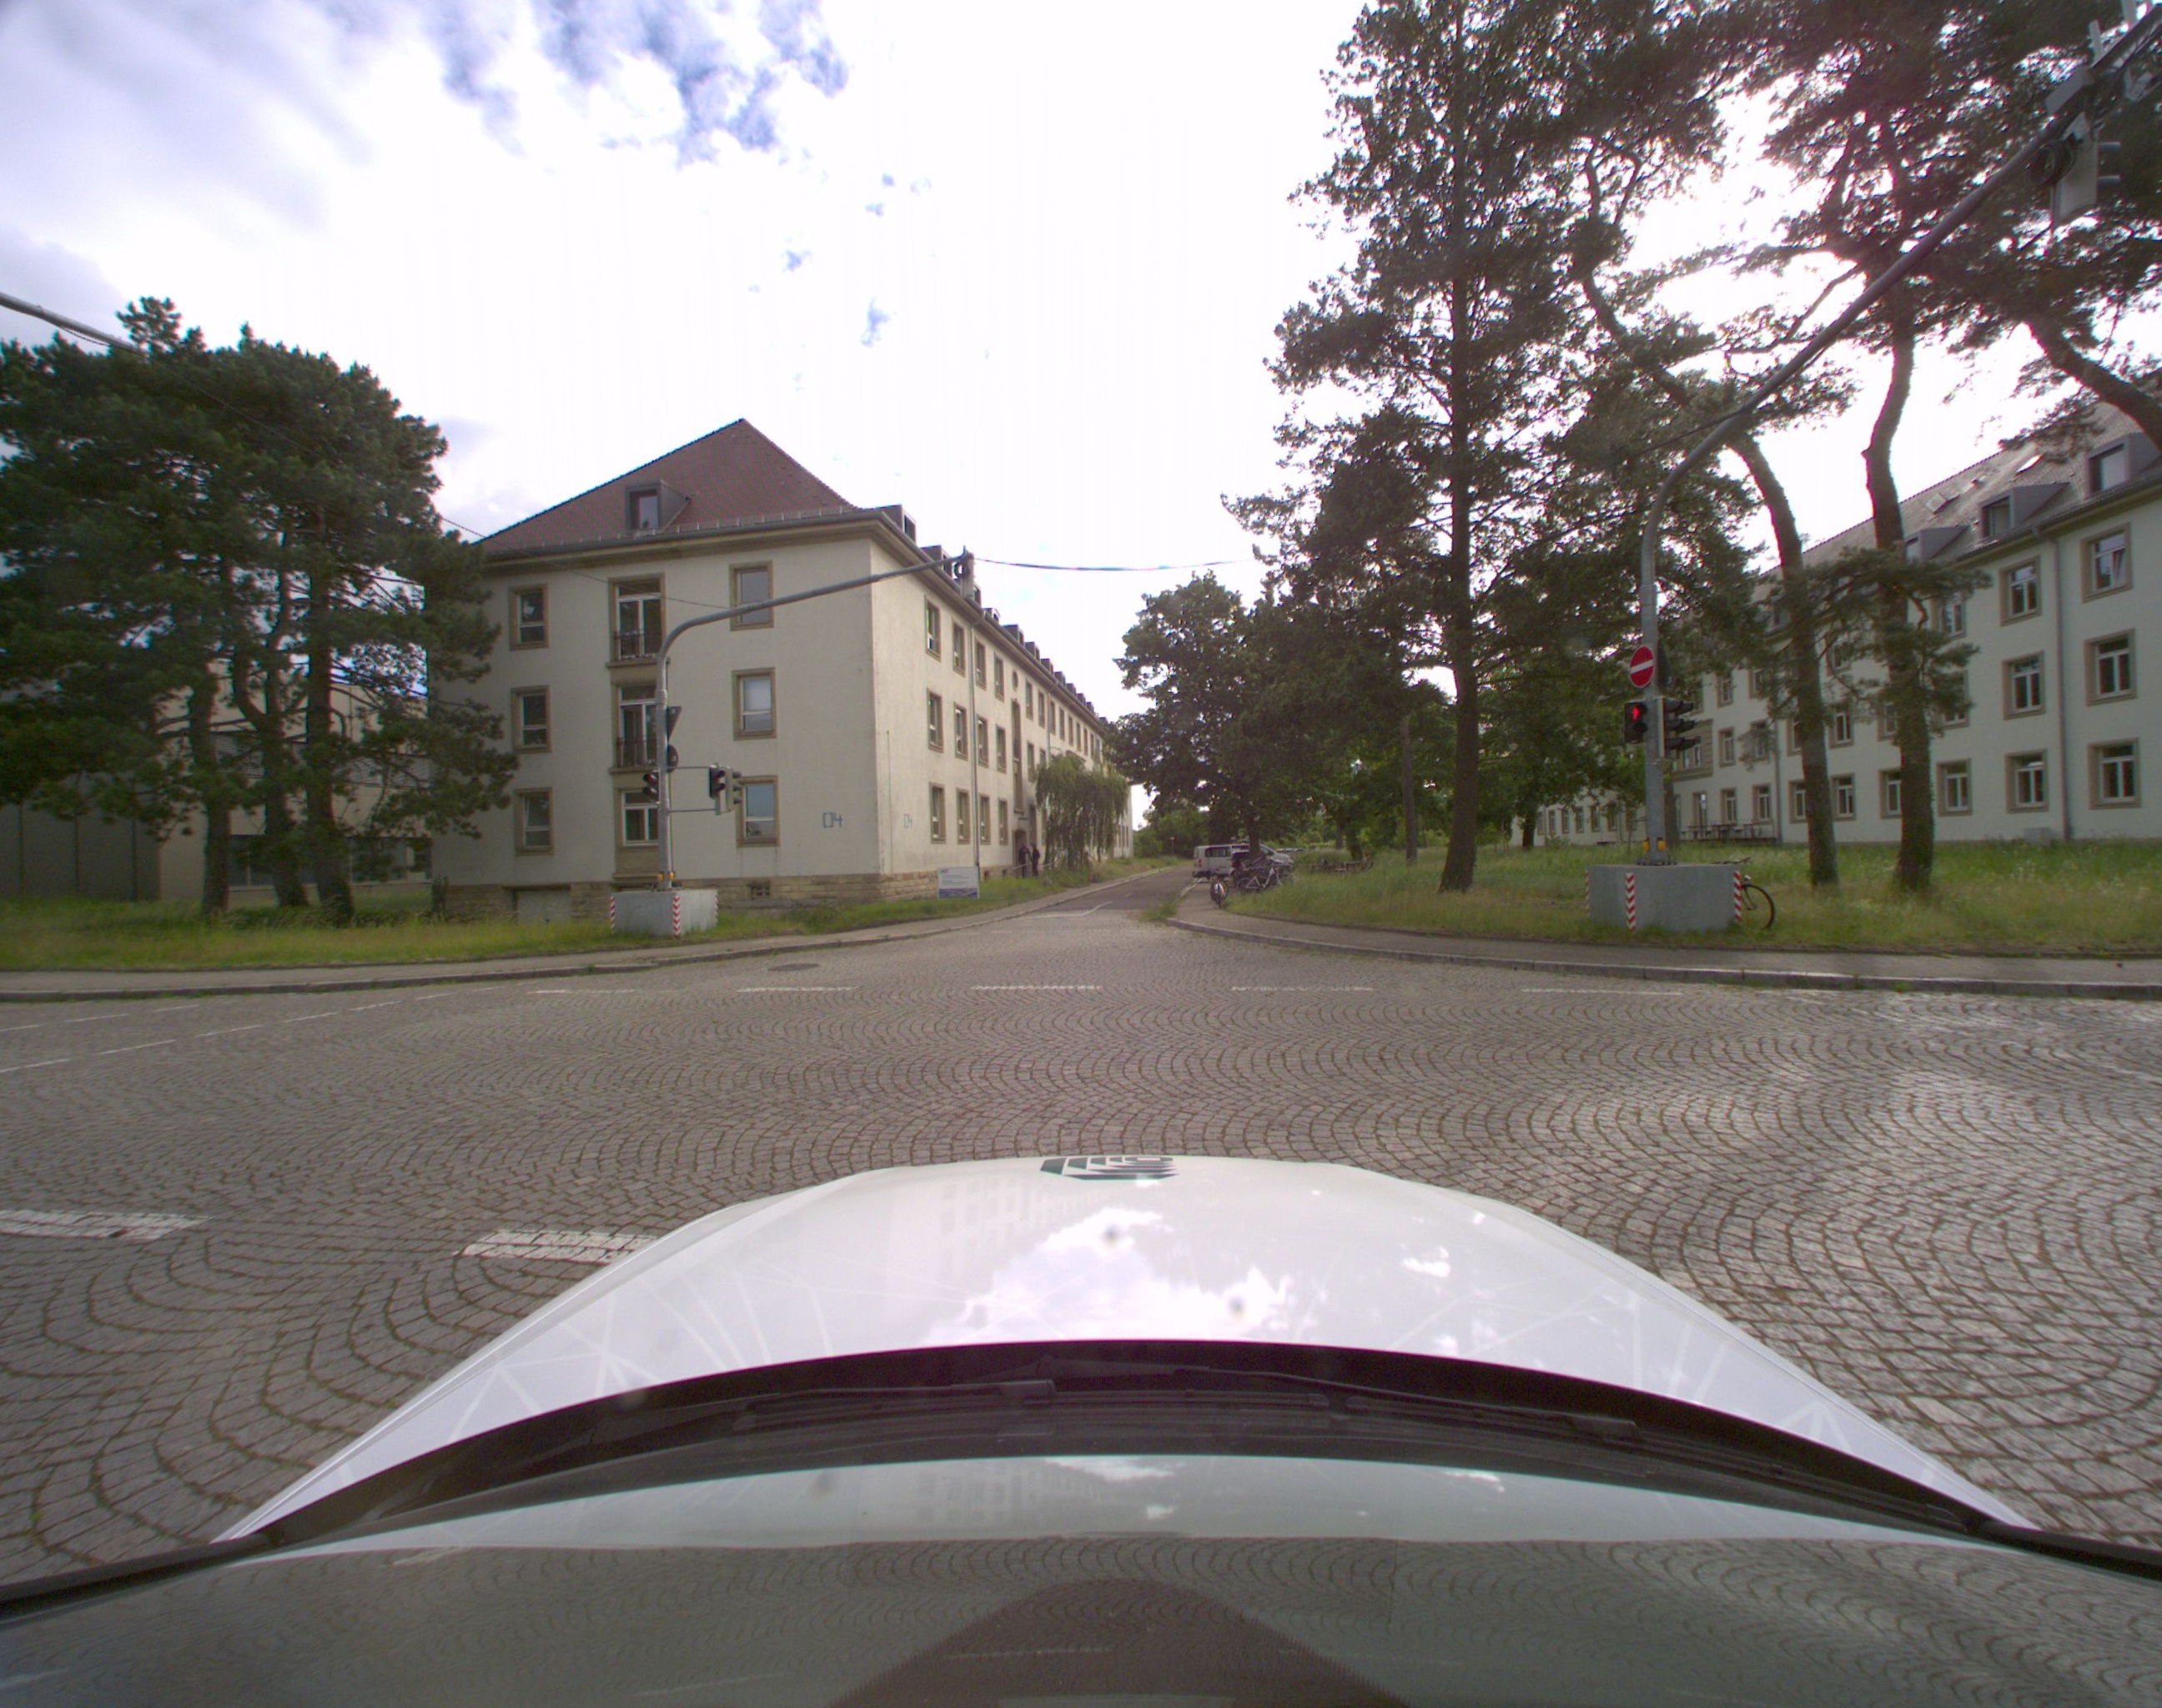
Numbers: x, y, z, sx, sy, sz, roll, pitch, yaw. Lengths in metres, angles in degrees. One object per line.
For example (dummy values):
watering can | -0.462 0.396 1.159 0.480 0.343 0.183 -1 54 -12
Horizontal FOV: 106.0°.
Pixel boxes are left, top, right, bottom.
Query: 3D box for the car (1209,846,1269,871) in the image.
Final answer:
car | 10.907 0.314 56.474 3.965 1.600 1.707 -2 0 7

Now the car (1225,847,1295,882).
car | 8.634 0.505 39.522 3.205 1.621 1.943 -1 0 9

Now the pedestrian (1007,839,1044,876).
pedestrian | -2.813 0.174 41.360 1.554 1.870 1.188 0 -1 -28

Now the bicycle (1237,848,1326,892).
bicycle | 6.644 0.540 27.152 2.785 1.372 0.953 -2 0 9

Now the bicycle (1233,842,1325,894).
bicycle | 6.349 0.444 26.257 2.785 1.583 0.953 -2 0 9

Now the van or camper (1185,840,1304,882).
van or camper | 8.530 0.345 42.767 5.727 1.957 2.236 -2 0 -3

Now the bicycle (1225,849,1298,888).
bicycle | 6.717 0.524 30.429 2.553 1.372 0.953 -2 0 9

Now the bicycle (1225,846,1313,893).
bicycle | 5.854 0.474 25.457 2.603 1.367 0.877 -2 0 9

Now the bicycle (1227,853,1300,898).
bicycle | 5.563 0.650 24.885 2.100 1.306 0.877 -2 0 9

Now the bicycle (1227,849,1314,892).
bicycle | 6.420 0.544 27.735 2.785 1.372 0.953 -2 0 9

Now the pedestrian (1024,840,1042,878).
pedestrian | -2.494 0.258 42.352 0.862 1.932 0.837 0 0 -1

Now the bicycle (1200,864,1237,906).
bicycle | 3.678 0.806 21.773 0.895 0.996 1.984 -2 0 10

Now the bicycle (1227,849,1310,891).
bicycle | 6.551 0.547 28.622 2.785 1.372 0.953 -2 0 9

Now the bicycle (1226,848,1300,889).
bicycle | 6.579 0.522 29.597 2.553 1.372 0.953 -2 0 9

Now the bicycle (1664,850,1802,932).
bicycle | 9.441 0.500 11.897 0.641 1.062 1.838 -5 -1 7

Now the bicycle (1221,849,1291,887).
bicycle | 6.706 0.528 31.283 2.553 1.372 0.953 -2 0 9

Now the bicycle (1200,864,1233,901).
bicycle | 3.980 0.812 23.851 0.722 0.996 1.987 -2 0 15
